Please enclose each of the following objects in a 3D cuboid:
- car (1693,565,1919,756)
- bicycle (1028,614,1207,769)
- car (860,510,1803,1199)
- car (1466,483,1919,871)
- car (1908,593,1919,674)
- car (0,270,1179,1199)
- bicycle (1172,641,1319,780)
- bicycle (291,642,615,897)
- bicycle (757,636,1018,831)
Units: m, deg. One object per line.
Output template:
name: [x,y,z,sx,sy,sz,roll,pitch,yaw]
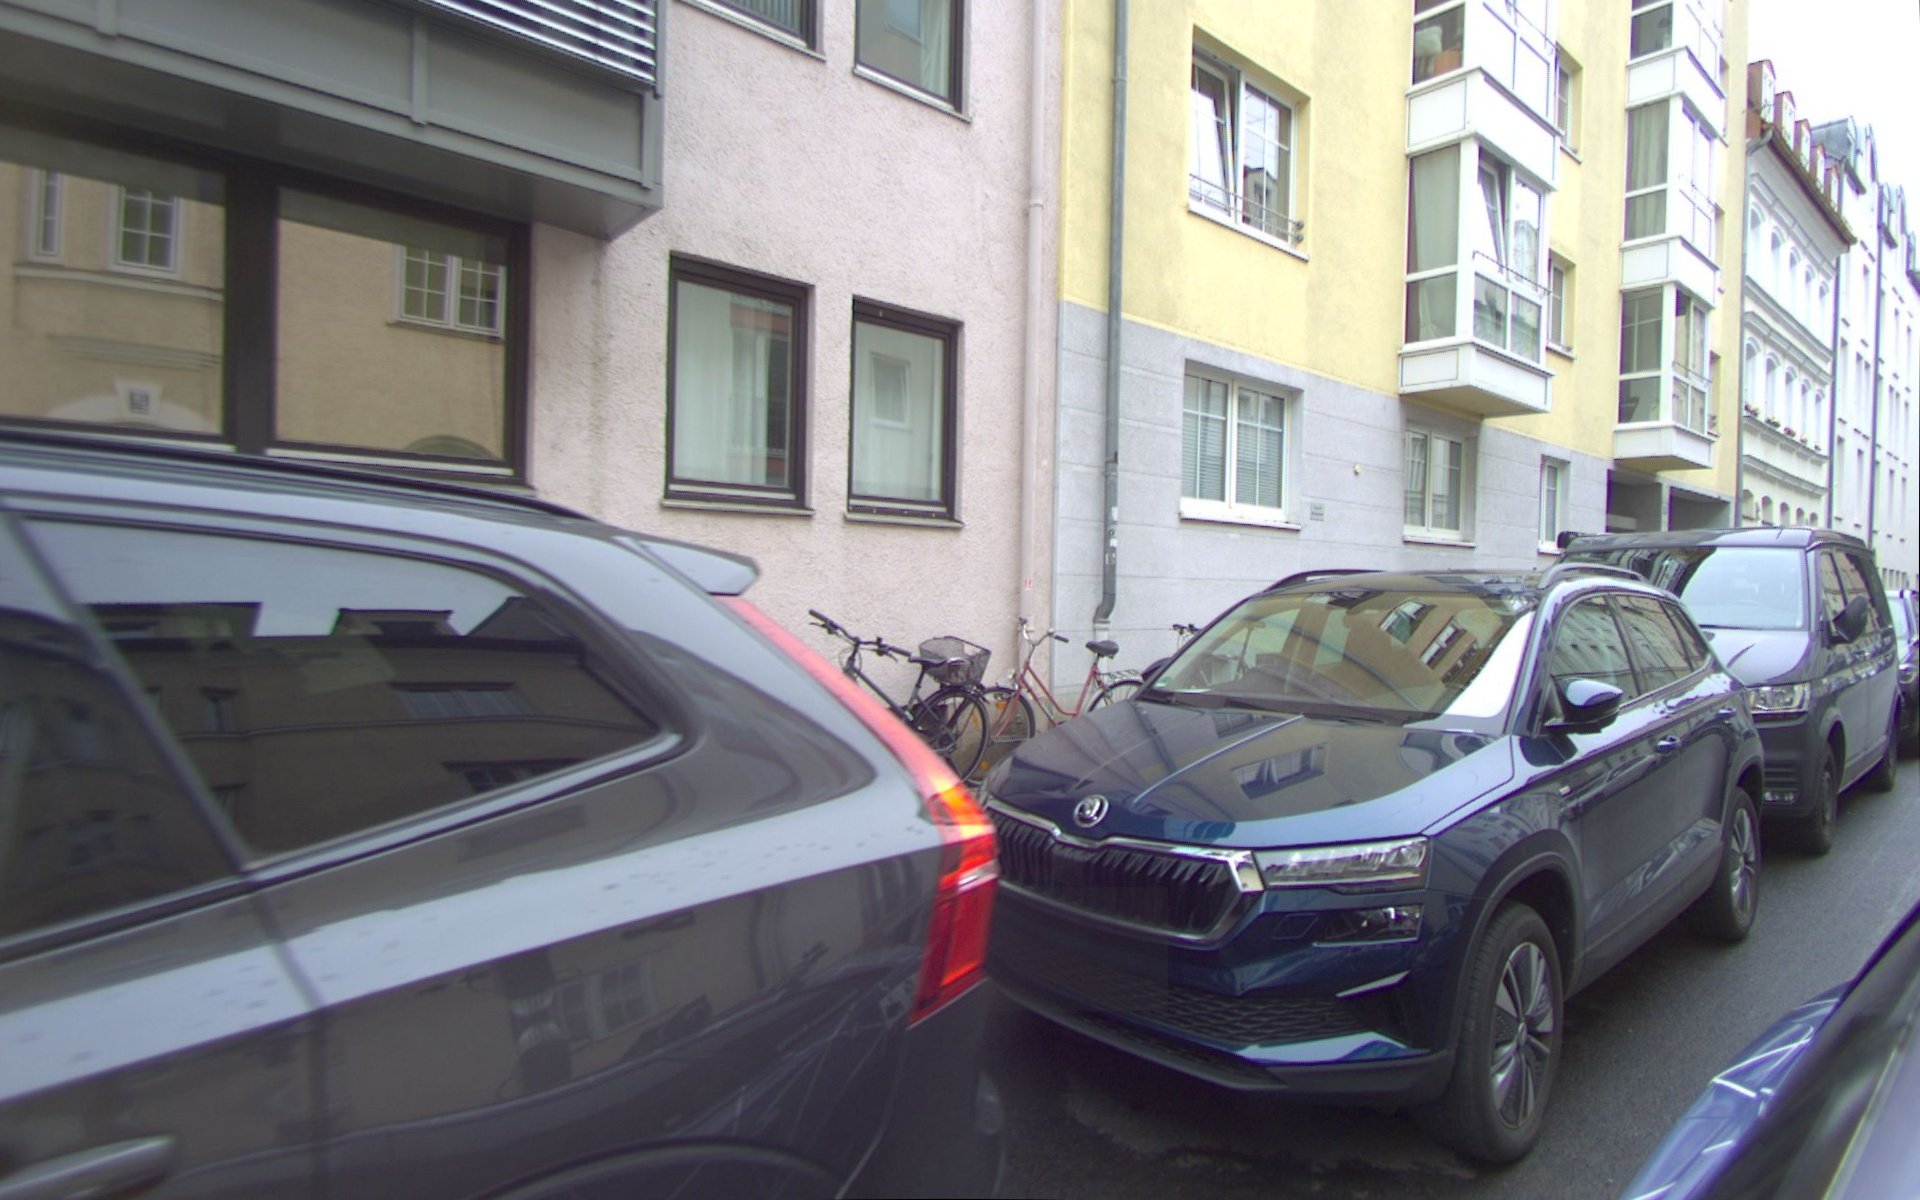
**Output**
car: [9.651,0.515,11.009,4.155,1.707,1.836,-1,1,-41]
bicycle: [1.150,0.607,7.231,1.420,0.988,0.422,0,1,-40]
car: [1.847,0.616,4.117,4.249,1.642,1.835,-1,1,-42]
car: [5.853,0.352,7.696,5.019,2.039,1.876,-1,1,-42]
car: [19.313,0.604,19.304,1.745,1.459,4.161,0,1,44]
car: [-1.880,0.592,0.859,4.334,1.642,1.836,-1,1,-41]
bicycle: [2.360,0.861,8.277,1.420,0.988,0.422,0,1,-40]
bicycle: [-2.238,0.695,4.548,1.247,0.959,0.358,0,1,-40]
bicycle: [-0.382,0.719,5.926,1.548,0.959,0.442,0,1,-40]
